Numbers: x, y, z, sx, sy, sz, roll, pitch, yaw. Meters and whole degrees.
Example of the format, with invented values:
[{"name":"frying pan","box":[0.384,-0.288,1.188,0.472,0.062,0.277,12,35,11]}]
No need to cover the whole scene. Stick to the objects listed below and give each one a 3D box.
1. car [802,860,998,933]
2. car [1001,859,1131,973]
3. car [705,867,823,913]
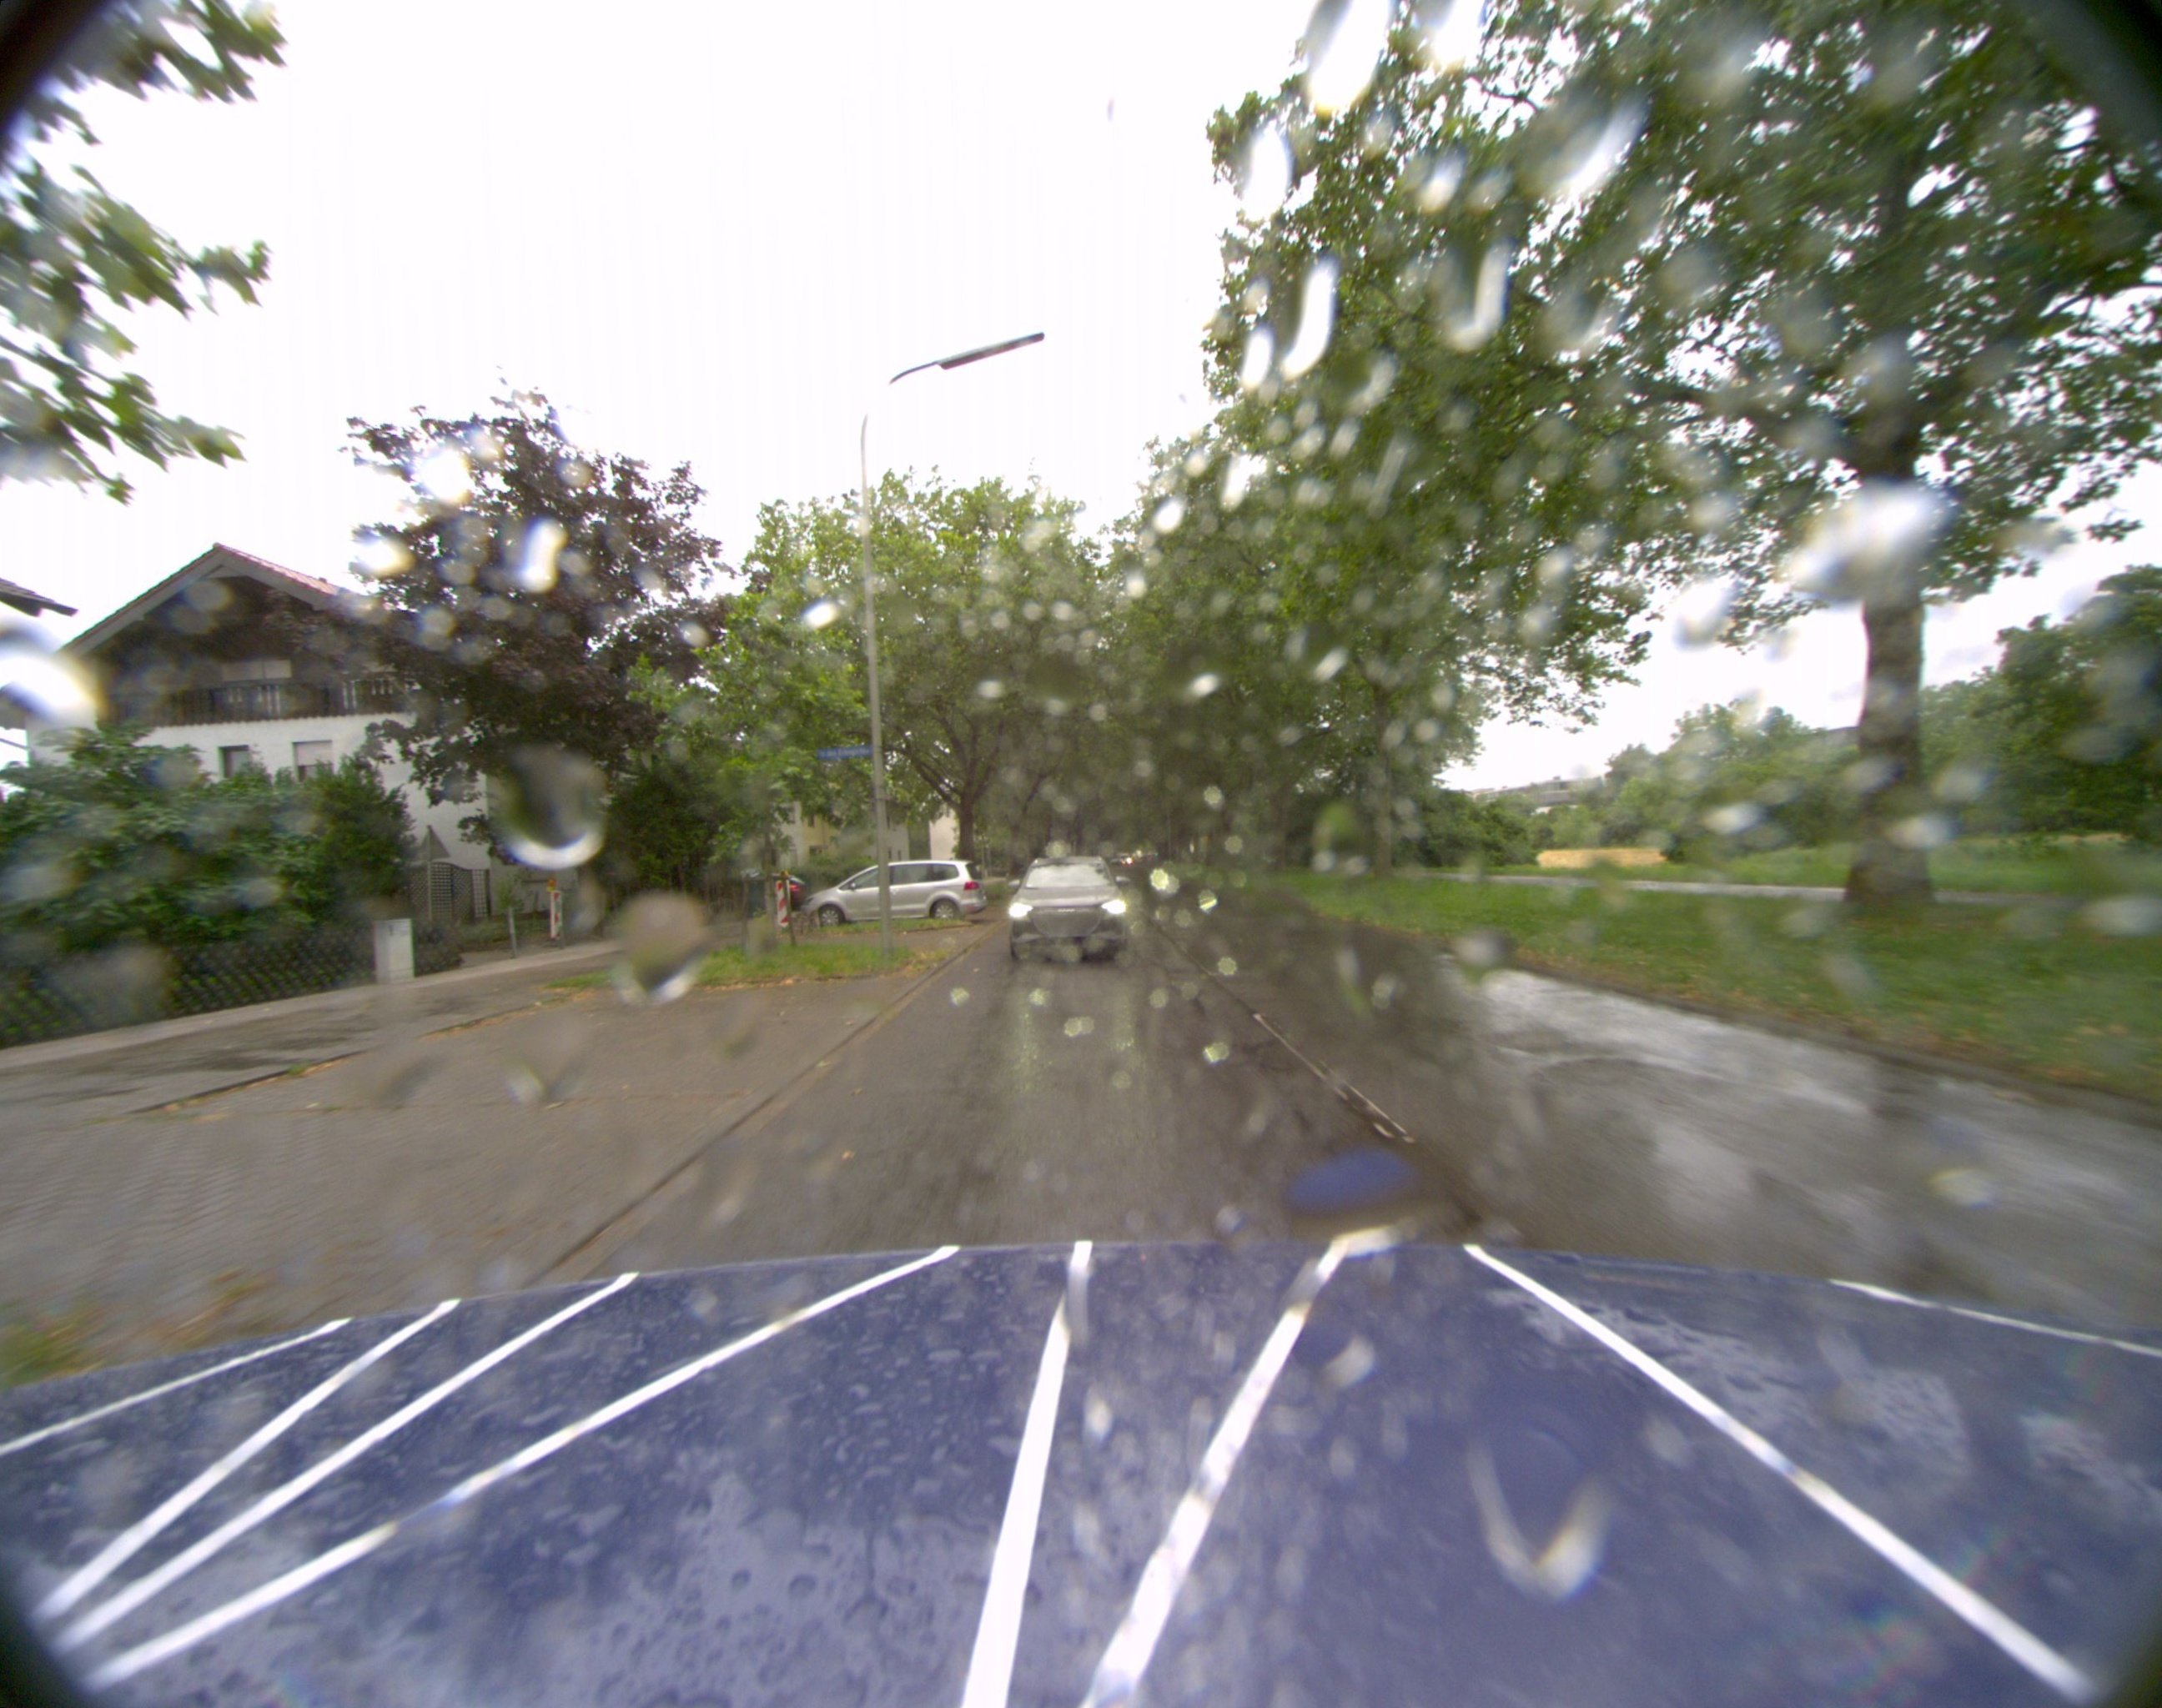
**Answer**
[{"name":"car","box":[-4.676,1.078,20.194,4.701,1.651,1.976,-2,0,-1]},{"name":"car","box":[-0.180,0.928,13.454,1.862,1.608,4.424,-2,0,1]},{"name":"car","box":[-12.506,1.405,30.120,3.853,1.603,1.843,-2,0,2]}]
